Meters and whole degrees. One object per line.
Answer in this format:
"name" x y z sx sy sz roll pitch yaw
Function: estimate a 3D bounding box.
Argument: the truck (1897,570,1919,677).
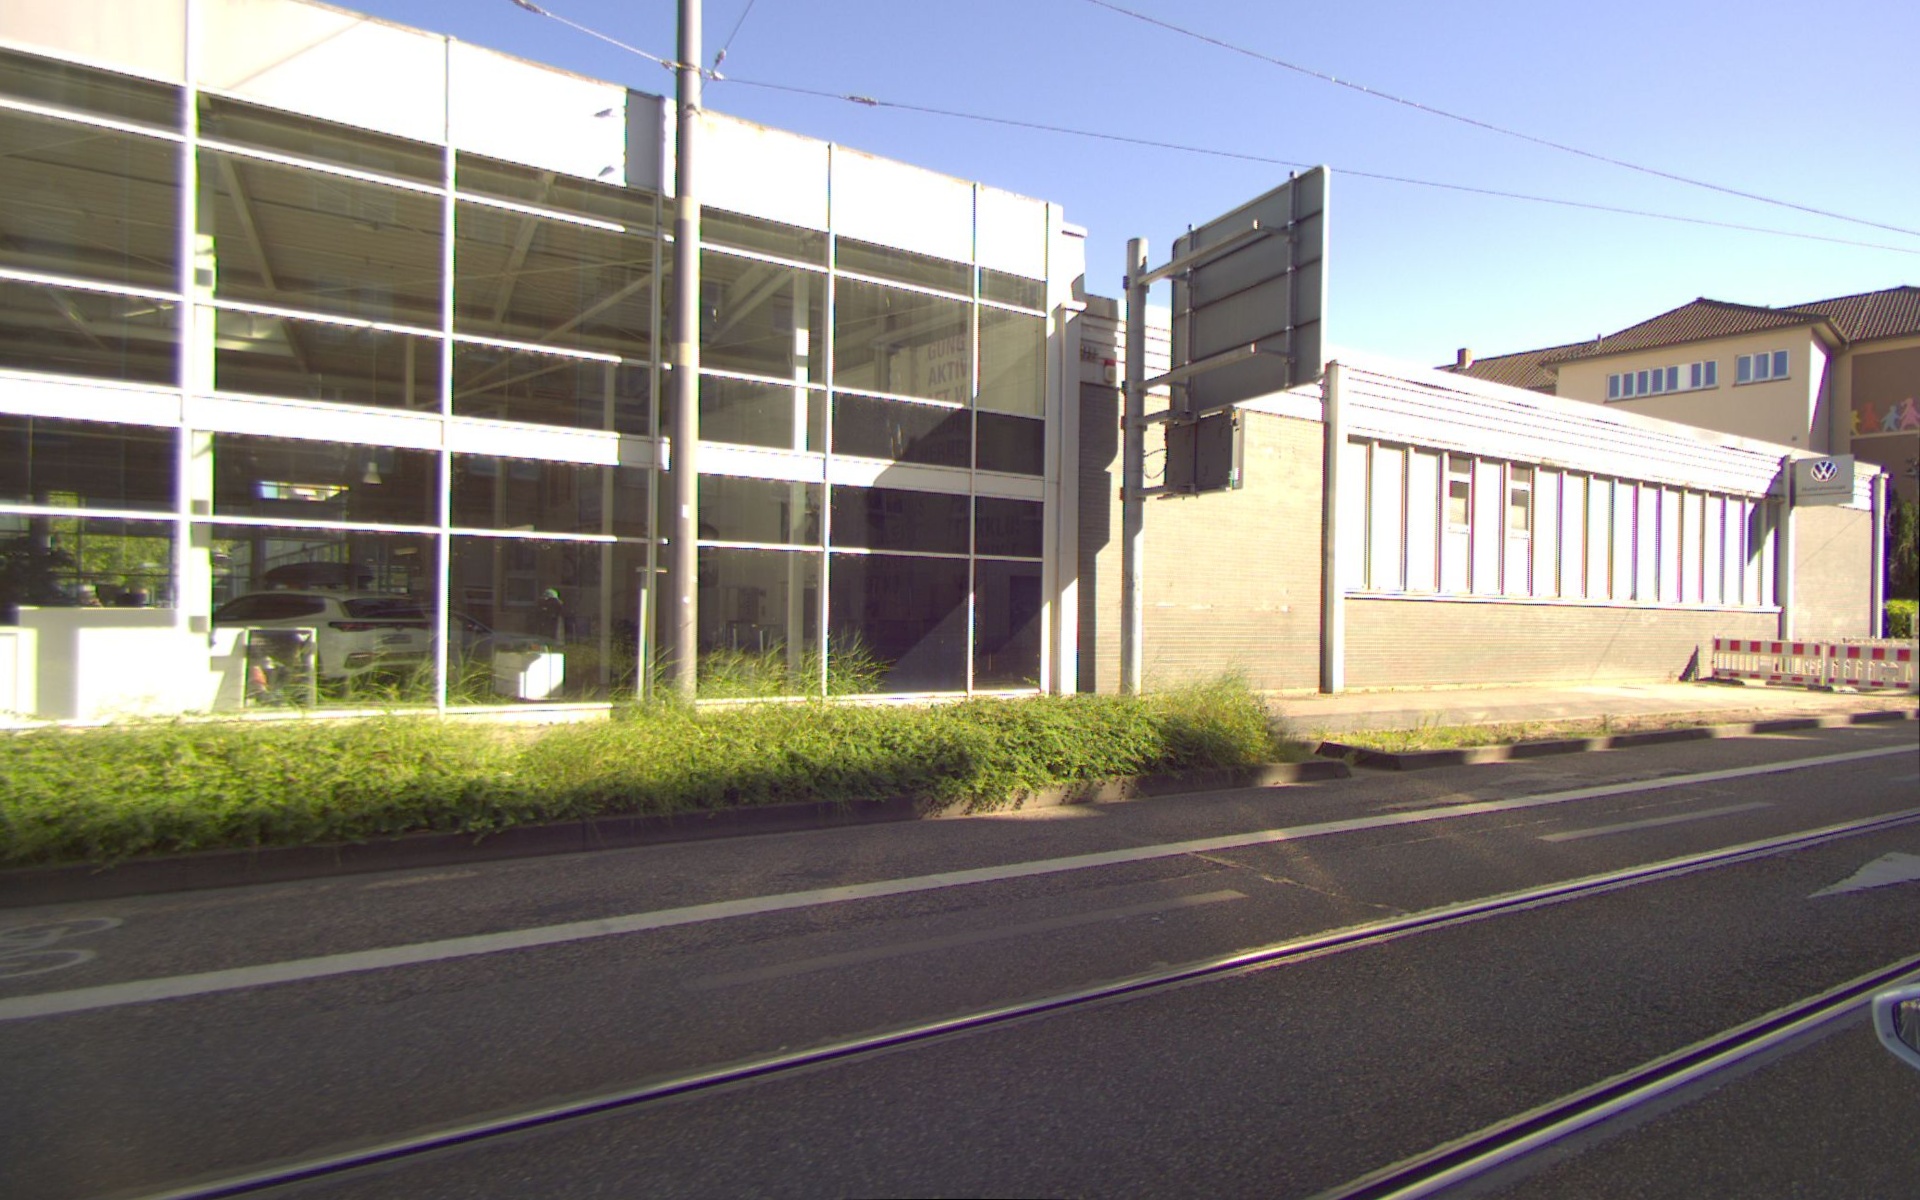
"truck" 28.815 0.758 27.972 6.309 2.868 2.522 2 1 -34
